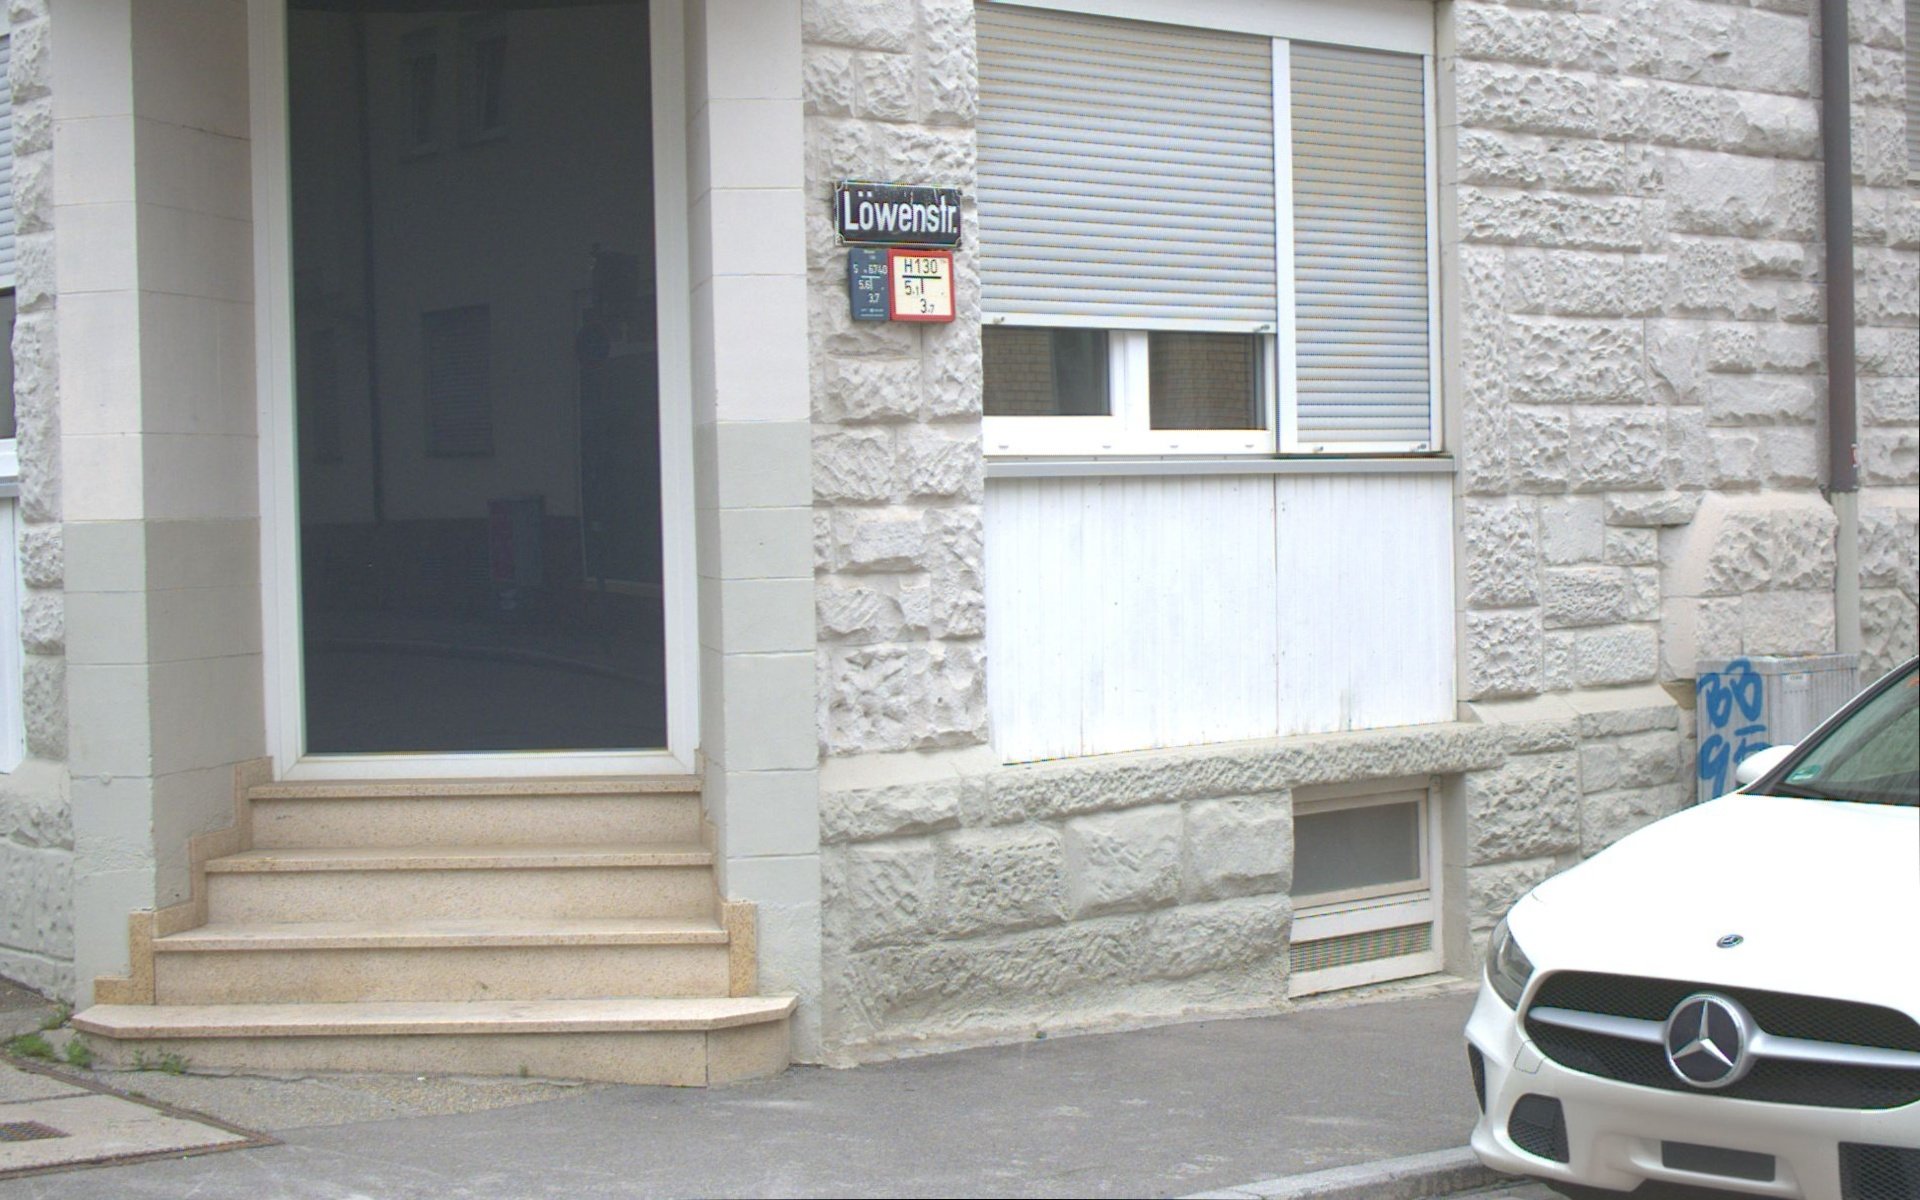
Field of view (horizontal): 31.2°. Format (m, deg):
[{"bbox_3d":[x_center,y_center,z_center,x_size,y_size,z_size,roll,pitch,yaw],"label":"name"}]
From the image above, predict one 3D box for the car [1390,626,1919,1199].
[{"bbox_3d":[3.026,0.783,8.386,1.703,1.409,4.229,1,0,44],"label":"car"}]
